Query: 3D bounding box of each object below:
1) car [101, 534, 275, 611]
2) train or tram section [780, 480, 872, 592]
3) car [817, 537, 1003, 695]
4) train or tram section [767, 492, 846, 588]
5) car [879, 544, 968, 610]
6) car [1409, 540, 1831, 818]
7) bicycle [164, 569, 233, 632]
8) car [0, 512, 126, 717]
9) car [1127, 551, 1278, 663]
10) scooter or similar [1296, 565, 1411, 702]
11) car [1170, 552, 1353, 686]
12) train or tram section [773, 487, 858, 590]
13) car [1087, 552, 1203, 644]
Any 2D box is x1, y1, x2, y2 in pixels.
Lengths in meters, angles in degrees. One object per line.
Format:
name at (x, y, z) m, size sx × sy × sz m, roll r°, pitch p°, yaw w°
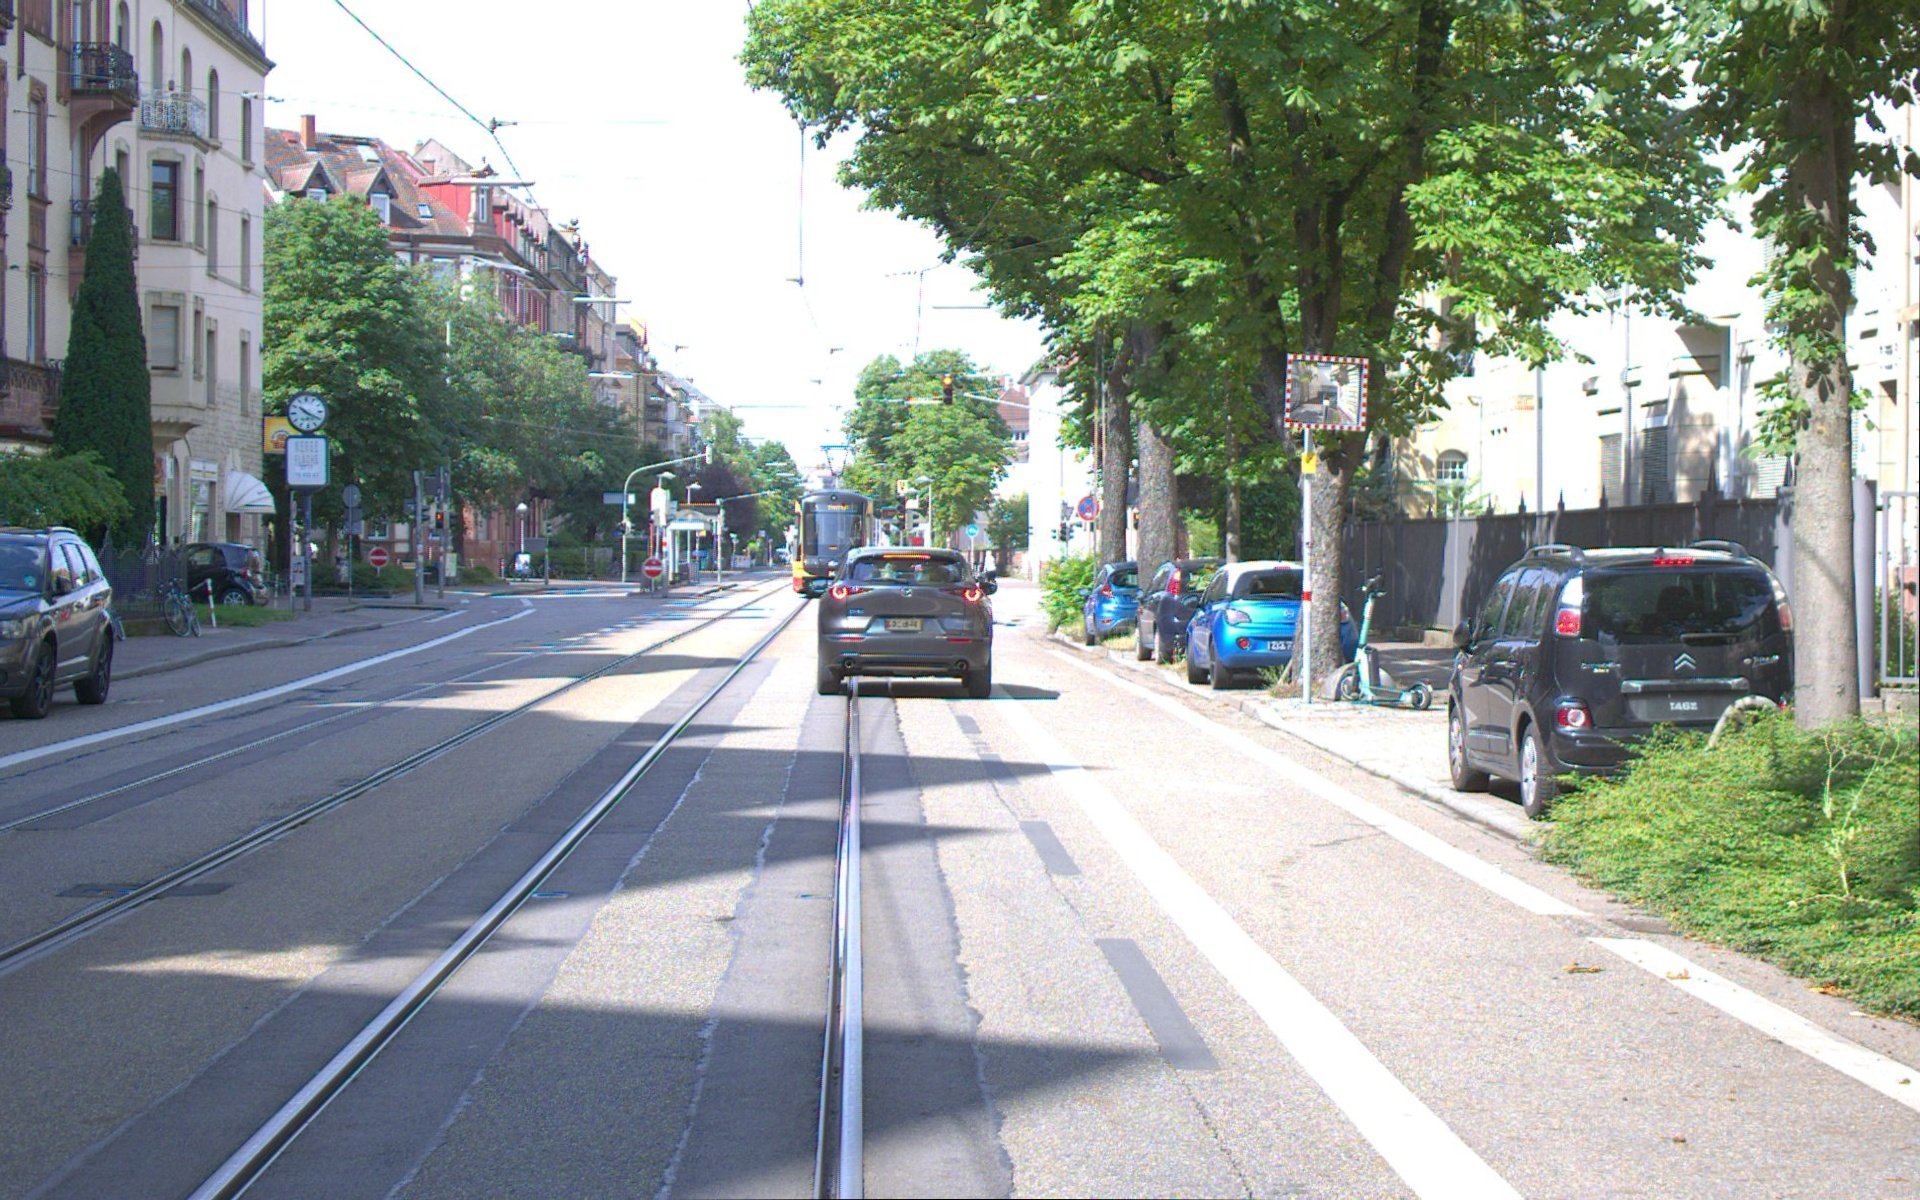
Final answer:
car at (-16.398, -0.580, 73.092) m, size 3.236 × 1.508 × 1.679 m, roll 2°, pitch 0°, yaw 2°
train or tram section at (-4.467, -2.069, 113.509) m, size 2.651 × 3.516 × 8.498 m, roll 0°, pitch 0°, yaw -5°
car at (-0.592, 0.125, 36.561) m, size 1.789 × 1.507 × 4.351 m, roll 1°, pitch 1°, yaw -3°
train or tram section at (-5.873, -2.230, 130.475) m, size 2.651 × 3.516 × 8.498 m, roll 0°, pitch 0°, yaw -5°
car at (-0.880, -0.557, 79.999) m, size 1.784 × 1.487 × 4.884 m, roll 0°, pitch 1°, yaw -4°
car at (4.135, 0.439, 22.210) m, size 1.696 × 1.585 × 4.203 m, roll -1°, pitch 1°, yaw -3°
bicycle at (-12.281, 0.008, 55.498) m, size 0.511 × 0.956 × 1.815 m, roll 3°, pitch -1°, yaw 5°
car at (-9.050, 0.078, 31.879) m, size 1.784 × 1.756 × 4.884 m, roll 0°, pitch 1°, yaw -4°
car at (3.405, 0.072, 48.844) m, size 1.639 × 1.491 × 3.758 m, roll -1°, pitch 1°, yaw -4°
scooter or similar at (3.884, 0.320, 34.006) m, size 0.441 × 1.295 × 1.182 m, roll -4°, pitch 3°, yaw -32°
car at (3.542, 0.193, 40.932) m, size 1.639 × 1.491 × 3.627 m, roll -1°, pitch 1°, yaw -3°
train or tram section at (-5.178, -2.152, 122.018) m, size 2.651 × 3.516 × 8.498 m, roll 0°, pitch 0°, yaw -5°
car at (3.149, -0.058, 59.154) m, size 1.624 × 1.491 × 3.848 m, roll -1°, pitch 1°, yaw -2°
